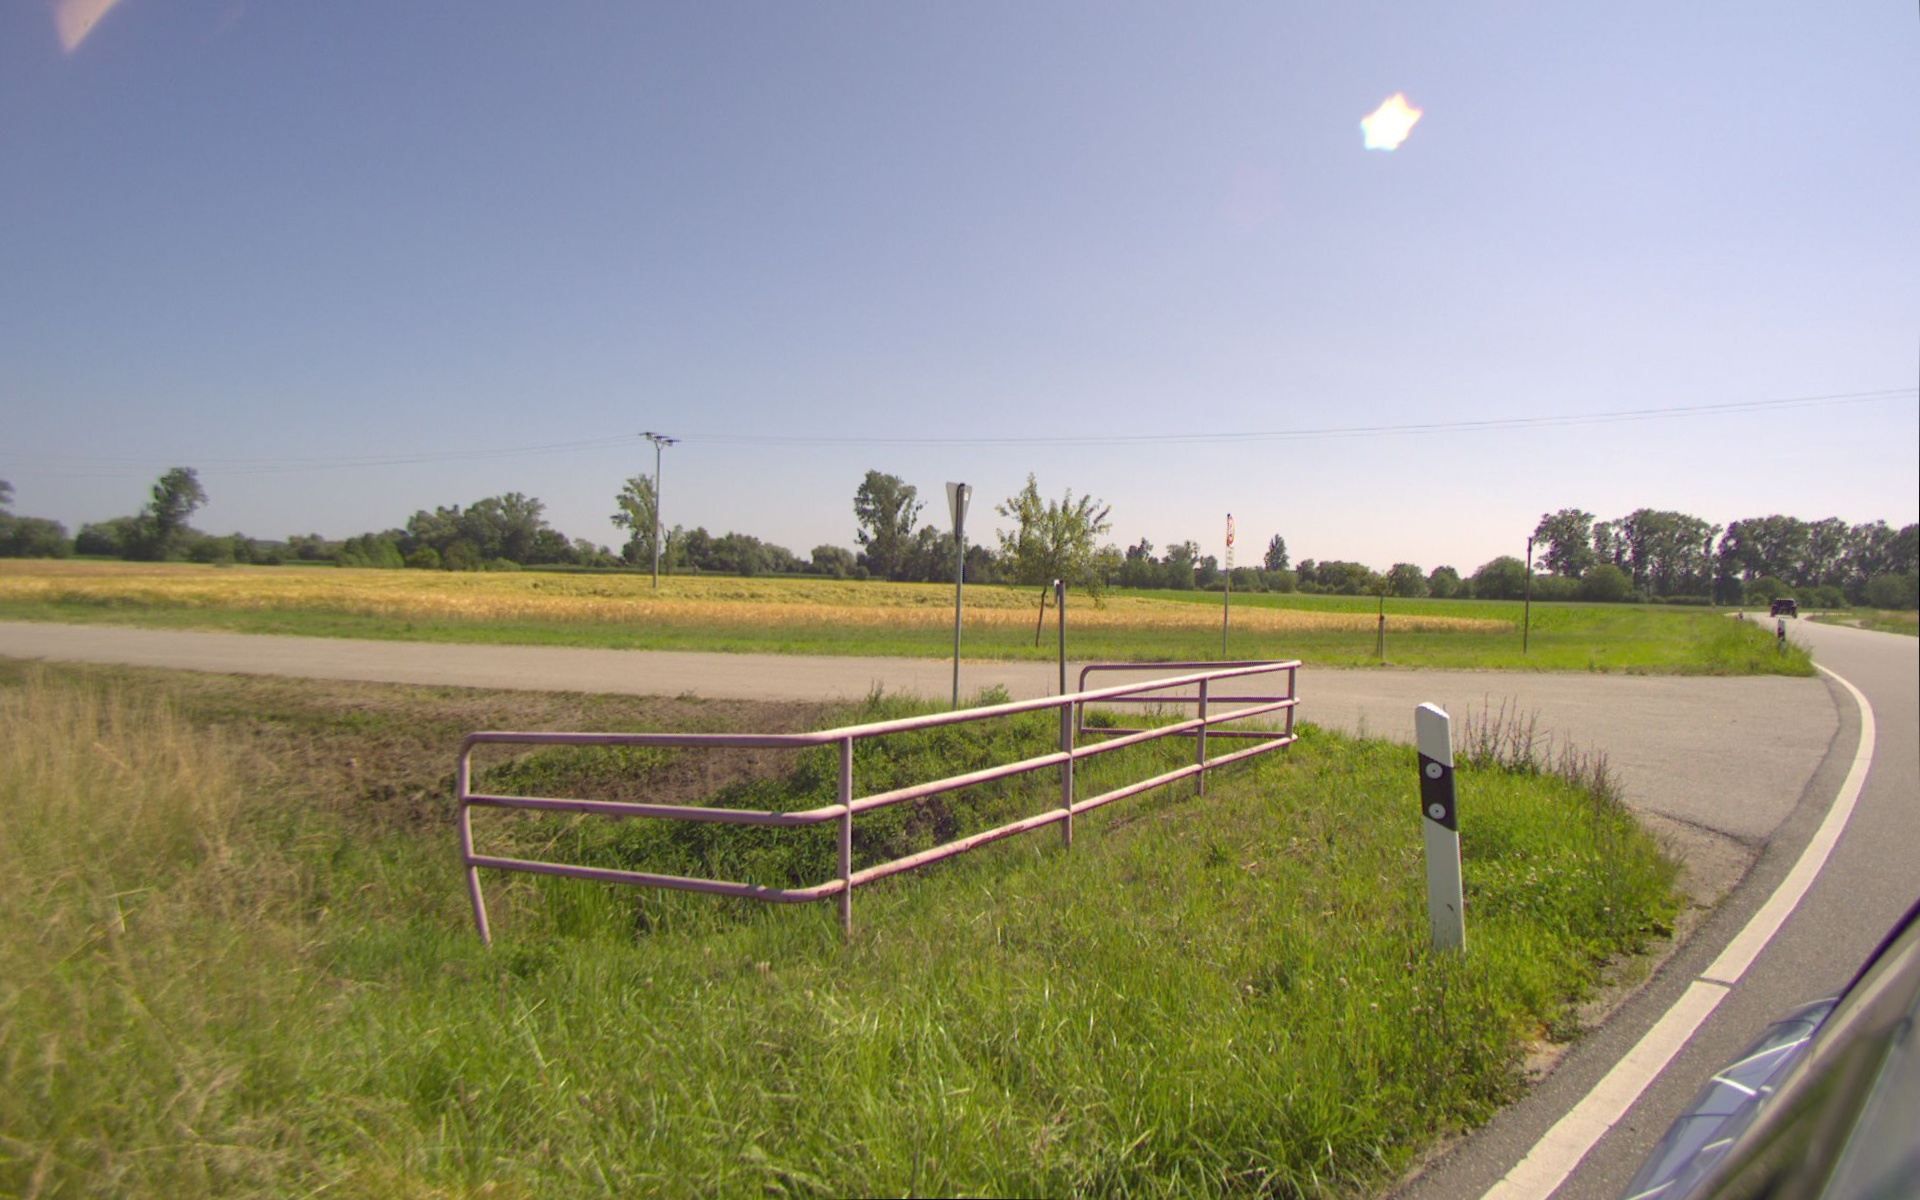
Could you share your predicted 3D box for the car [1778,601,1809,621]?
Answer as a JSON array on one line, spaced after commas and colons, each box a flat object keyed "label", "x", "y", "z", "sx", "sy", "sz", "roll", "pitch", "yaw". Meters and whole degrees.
[{"label": "car", "x": 76.524, "y": 0.986, "z": 92.903, "sx": 1.866, "sy": 1.774, "sz": 4.228, "roll": 4, "pitch": 2, "yaw": 44}]
